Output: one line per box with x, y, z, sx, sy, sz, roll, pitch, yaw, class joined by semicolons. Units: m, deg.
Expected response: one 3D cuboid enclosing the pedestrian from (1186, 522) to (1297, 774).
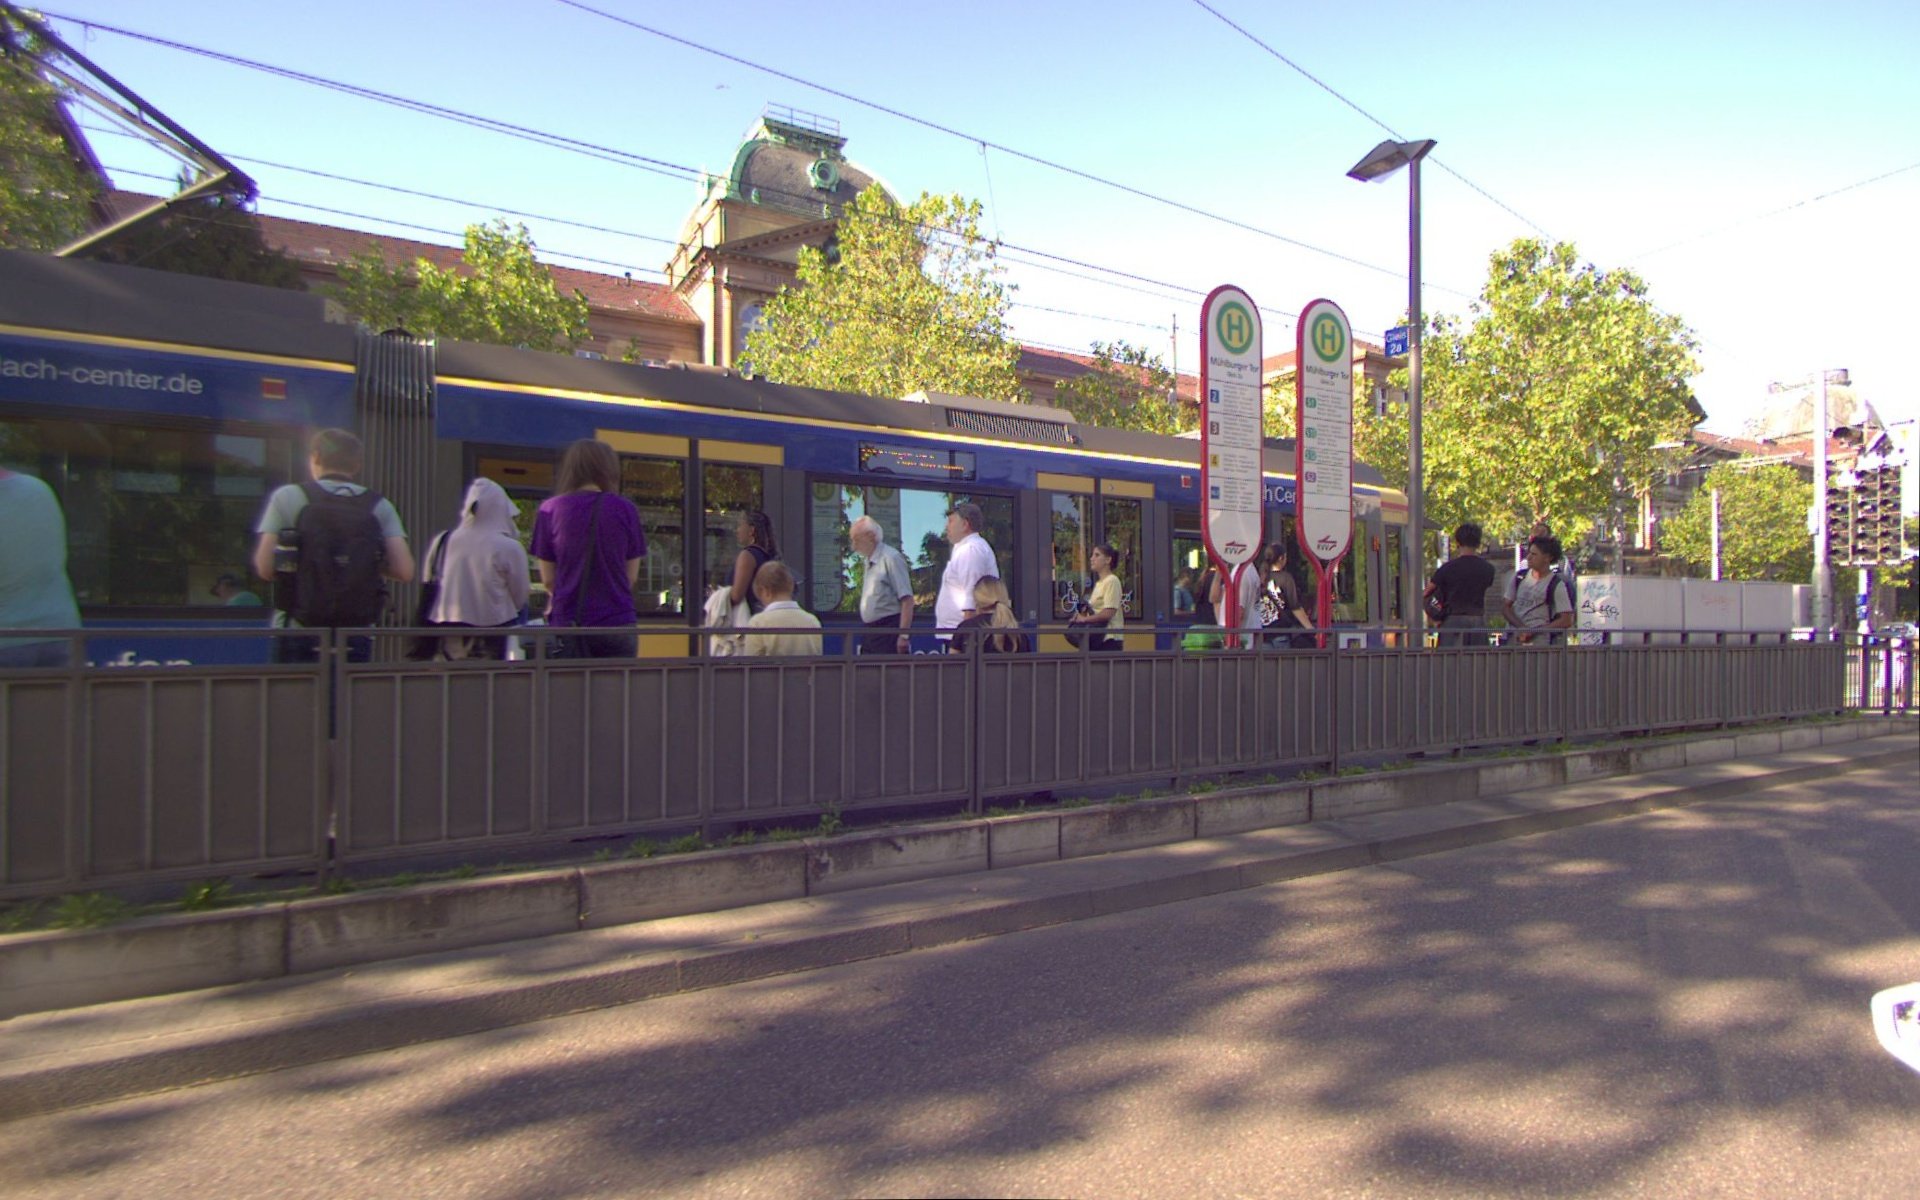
2.035;0.334;7.260;0.605;1.724;0.502;1;-1;-35;pedestrian

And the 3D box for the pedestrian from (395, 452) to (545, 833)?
-2.418;0.200;4.947;0.614;1.731;0.512;1;-1;-31;pedestrian

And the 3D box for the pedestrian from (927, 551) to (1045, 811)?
0.139;0.422;5.477;0.501;1.333;0.413;1;-1;-32;pedestrian

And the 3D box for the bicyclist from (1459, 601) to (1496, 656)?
13.328;0.731;25.878;0.642;1.404;0.562;2;1;-31;bicyclist

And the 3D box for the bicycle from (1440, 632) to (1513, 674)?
13.292;1.354;25.883;0.643;0.976;1.555;2;0;-30;bicycle

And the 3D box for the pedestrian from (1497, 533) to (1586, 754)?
4.823;0.354;8.363;0.539;1.757;0.540;0;-1;20;pedestrian

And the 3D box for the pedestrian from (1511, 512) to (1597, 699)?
5.796;0.062;9.805;0.534;1.757;0.544;1;-1;-34;pedestrian

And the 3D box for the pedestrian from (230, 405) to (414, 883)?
-2.528;0.165;4.040;0.564;1.718;0.657;1;-1;-29;pedestrian

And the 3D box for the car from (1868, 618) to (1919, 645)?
59.498;1.946;63.382;3.949;1.646;1.986;1;-1;-27;car

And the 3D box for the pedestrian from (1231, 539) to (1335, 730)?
3.058;0.323;9.522;0.739;1.724;0.628;1;-1;-34;pedestrian

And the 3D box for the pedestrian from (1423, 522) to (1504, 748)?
4.070;0.278;8.151;0.539;1.757;0.539;0;-1;23;pedestrian

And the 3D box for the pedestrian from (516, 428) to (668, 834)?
-1.728;0.140;4.686;0.564;1.718;0.657;1;-1;-29;pedestrian

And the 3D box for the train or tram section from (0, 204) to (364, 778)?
-11.507;-0.841;3.881;15.712;3.303;2.899;2;0;-31;train or tram section

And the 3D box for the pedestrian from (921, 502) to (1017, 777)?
0.048;0.254;6.584;0.600;1.724;0.507;0;-1;-3;pedestrian

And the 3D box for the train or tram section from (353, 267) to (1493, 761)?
0.805;-0.399;11.328;12.963;3.303;2.899;2;0;-31;train or tram section

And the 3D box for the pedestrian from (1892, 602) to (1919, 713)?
13.995;0.828;14.526;0.640;1.577;0.627;1;-1;-35;pedestrian

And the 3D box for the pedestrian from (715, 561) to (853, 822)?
-0.885;0.431;5.019;0.525;1.208;0.542;1;-1;-31;pedestrian

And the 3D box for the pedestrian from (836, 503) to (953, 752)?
-0.472;0.196;7.173;0.616;1.671;0.615;1;-1;-34;pedestrian

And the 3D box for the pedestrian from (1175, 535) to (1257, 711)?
2.601;0.232;10.230;0.540;1.724;0.605;1;-1;-34;pedestrian

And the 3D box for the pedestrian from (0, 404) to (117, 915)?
-3.378;0.194;3.480;0.564;1.655;0.657;1;-1;-29;pedestrian

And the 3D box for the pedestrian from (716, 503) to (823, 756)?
-1.237;0.188;6.494;0.525;1.539;0.542;1;-1;-31;pedestrian

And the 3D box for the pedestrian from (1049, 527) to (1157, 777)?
1.084;0.382;7.627;0.605;1.793;0.549;1;-1;-34;pedestrian
